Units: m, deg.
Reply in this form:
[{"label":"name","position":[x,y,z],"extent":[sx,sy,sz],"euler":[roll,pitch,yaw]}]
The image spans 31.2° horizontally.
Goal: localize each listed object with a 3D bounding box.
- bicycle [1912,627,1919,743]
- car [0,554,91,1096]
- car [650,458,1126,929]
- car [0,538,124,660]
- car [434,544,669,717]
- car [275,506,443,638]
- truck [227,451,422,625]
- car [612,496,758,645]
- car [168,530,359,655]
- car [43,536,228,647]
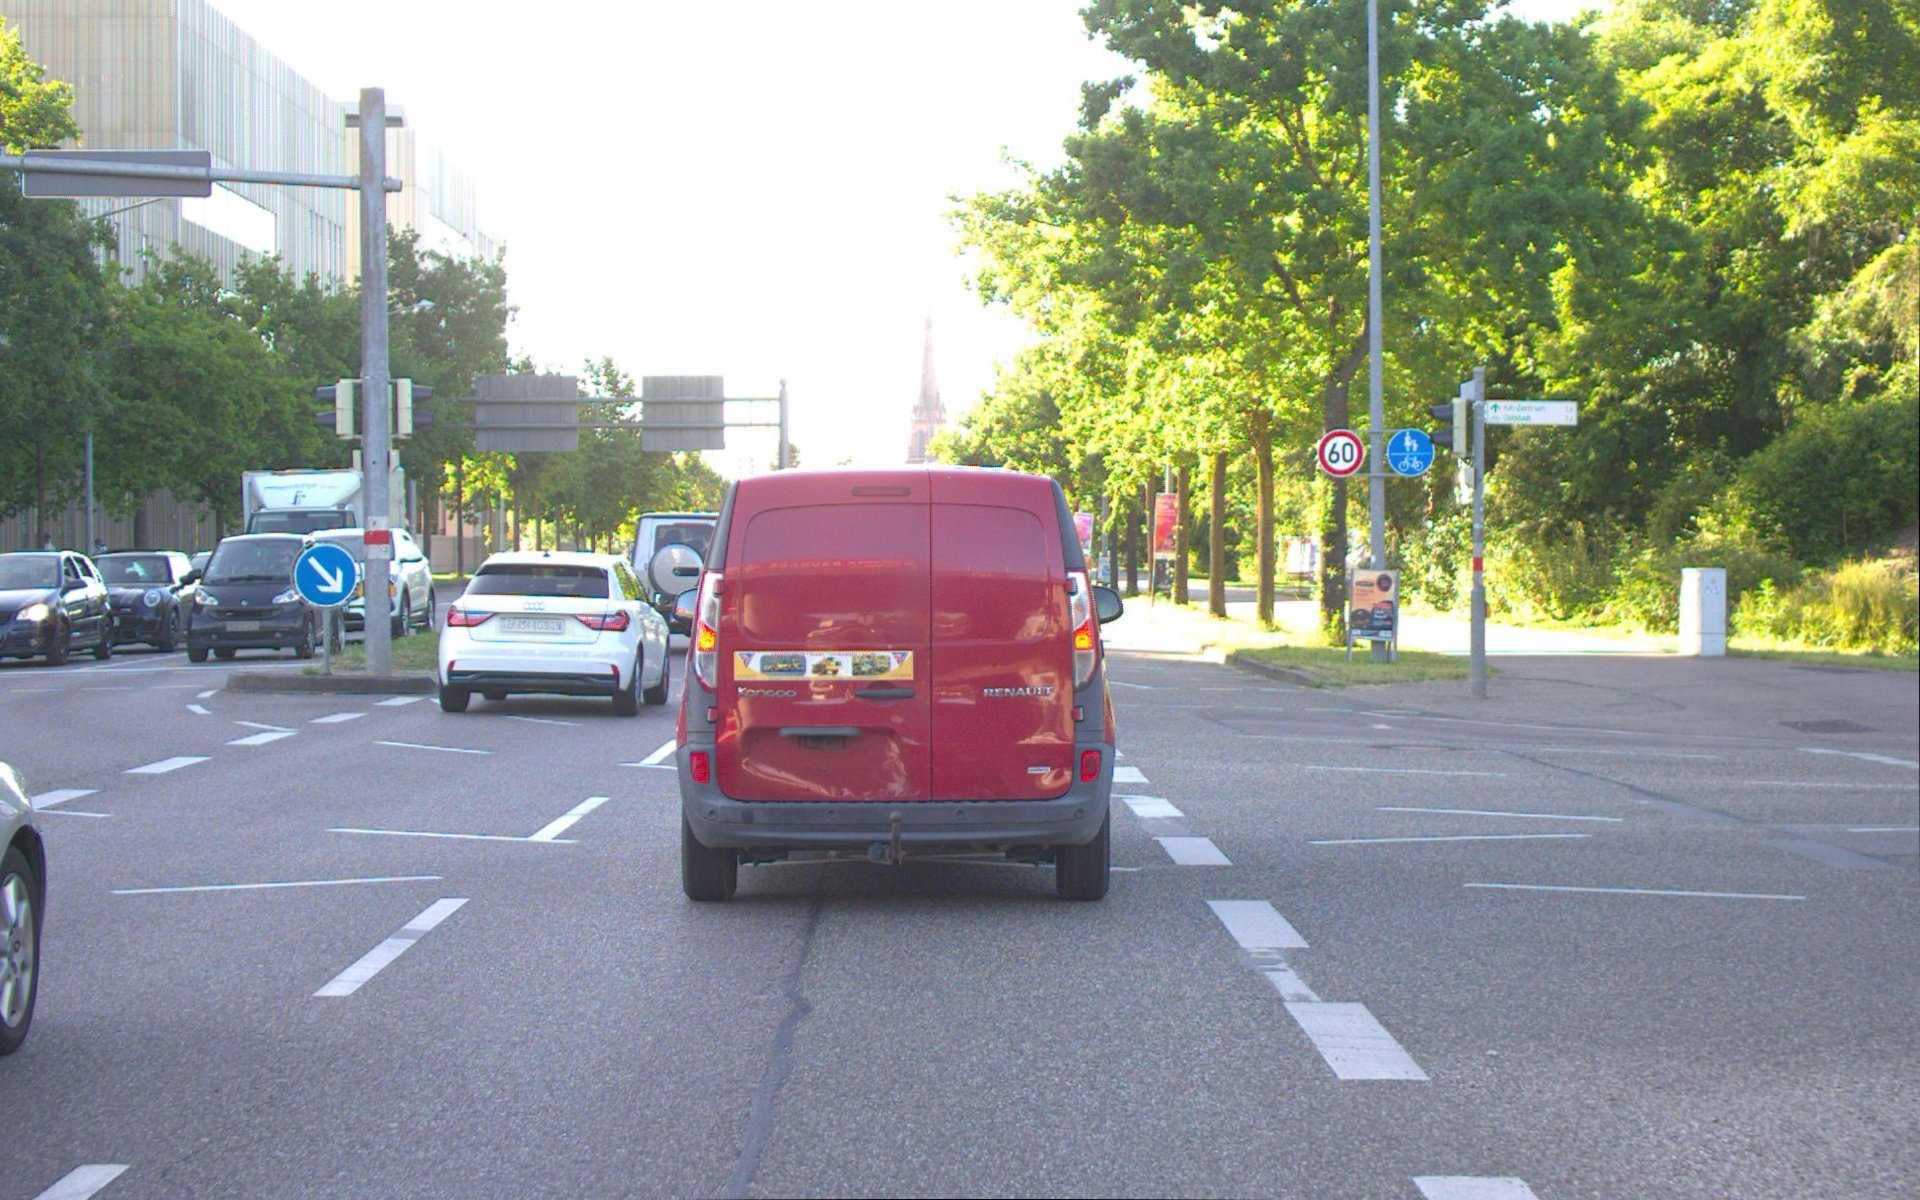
[{"label":"bicycle","position":[8.715,0.739,29.532],"extent":[0.592,1.020,1.750],"euler":[1,-1,1]},{"label":"car","position":[-3.474,0.613,8.139],"extent":[1.733,1.475,4.319],"euler":[0,0,0]},{"label":"car","position":[-0.297,0.300,15.294],"extent":[1.805,1.788,4.001],"euler":[1,2,-1]},{"label":"car","position":[-11.830,-0.001,43.246],"extent":[1.636,1.438,4.077],"euler":[-2,0,-1]},{"label":"car","position":[-3.605,0.237,30.857],"extent":[1.813,1.433,3.731],"euler":[1,1,-3]},{"label":"car","position":[-8.758,-0.406,50.373],"extent":[1.757,1.790,4.083],"euler":[-2,0,-1]},{"label":"truck","position":[-11.796,-1.119,64.334],"extent":[2.409,3.016,6.657],"euler":[-2,0,-1]},{"label":"car","position":[-3.847,-0.371,48.708],"extent":[1.801,1.982,4.589],"euler":[1,-1,-2]},{"label":"car","position":[-8.674,-0.103,43.068],"extent":[1.636,1.438,3.719],"euler":[-2,0,-1]},{"label":"car","position":[-11.615,-0.125,48.661],"extent":[1.636,1.438,4.077],"euler":[-2,0,-1]}]
